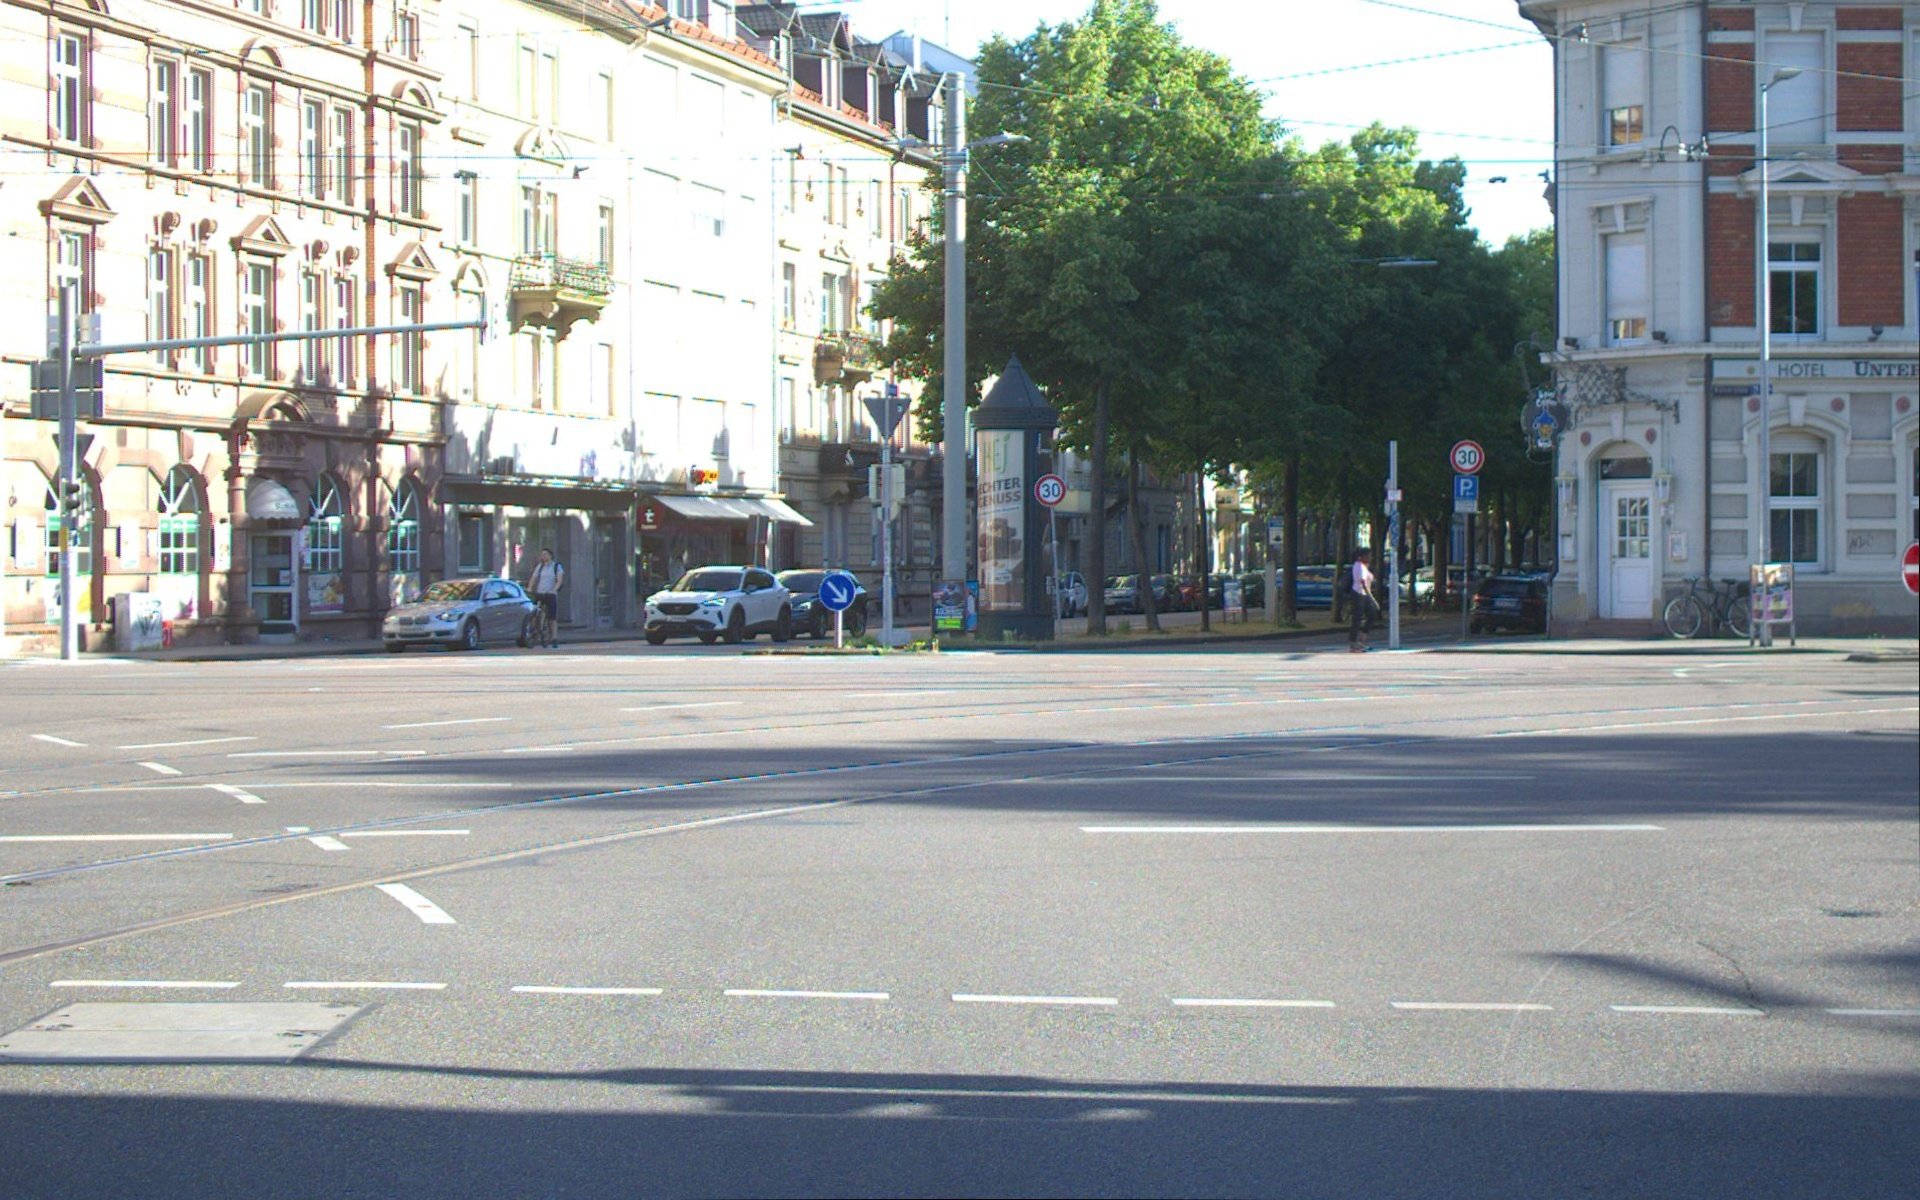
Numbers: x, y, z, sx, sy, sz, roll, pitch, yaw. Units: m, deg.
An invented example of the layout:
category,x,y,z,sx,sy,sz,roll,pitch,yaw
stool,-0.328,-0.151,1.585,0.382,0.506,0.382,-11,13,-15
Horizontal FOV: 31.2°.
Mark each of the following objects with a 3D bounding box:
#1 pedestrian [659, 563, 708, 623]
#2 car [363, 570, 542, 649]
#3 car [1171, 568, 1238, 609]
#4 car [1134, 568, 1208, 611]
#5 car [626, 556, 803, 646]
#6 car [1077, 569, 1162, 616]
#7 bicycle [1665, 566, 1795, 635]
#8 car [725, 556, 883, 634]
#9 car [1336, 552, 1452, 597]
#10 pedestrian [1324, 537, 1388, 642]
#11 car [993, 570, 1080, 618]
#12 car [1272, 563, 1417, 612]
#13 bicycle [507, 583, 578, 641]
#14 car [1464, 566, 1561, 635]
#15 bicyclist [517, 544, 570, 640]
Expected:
category,x,y,z,sx,sy,sz,roll,pitch,yaw
pedestrian,-7.075,-0.179,88.127,0.929,1.530,1.136,0,1,14
car,-9.850,0.153,67.054,1.900,1.450,3.997,0,1,17
car,9.702,-0.456,136.335,1.766,1.544,4.387,0,1,16
car,8.036,-0.407,130.458,1.839,1.547,4.387,0,1,17
car,-4.761,-0.013,67.329,1.995,1.678,4.387,0,1,17
car,5.709,-0.289,122.668,1.995,1.607,4.387,0,1,17
bicycle,12.859,0.013,57.393,2.085,1.120,0.367,1,0,-4
car,-3.316,-0.130,73.842,1.995,1.606,4.387,0,1,17
car,16.864,-1.002,133.628,3.993,1.700,1.997,0,1,30
pedestrian,6.602,-0.177,57.386,1.046,1.738,0.808,0,1,6
car,2.489,-0.214,110.966,1.995,1.481,3.998,0,1,14
car,12.893,-0.426,115.293,4.382,1.606,1.997,0,1,27
bicycle,-7.886,0.221,65.015,0.680,1.062,2.124,0,1,12
car,13.271,-0.005,82.444,1.995,1.579,3.998,0,1,14
bicyclist,-7.876,-0.159,65.050,0.679,1.814,1.070,0,1,12
